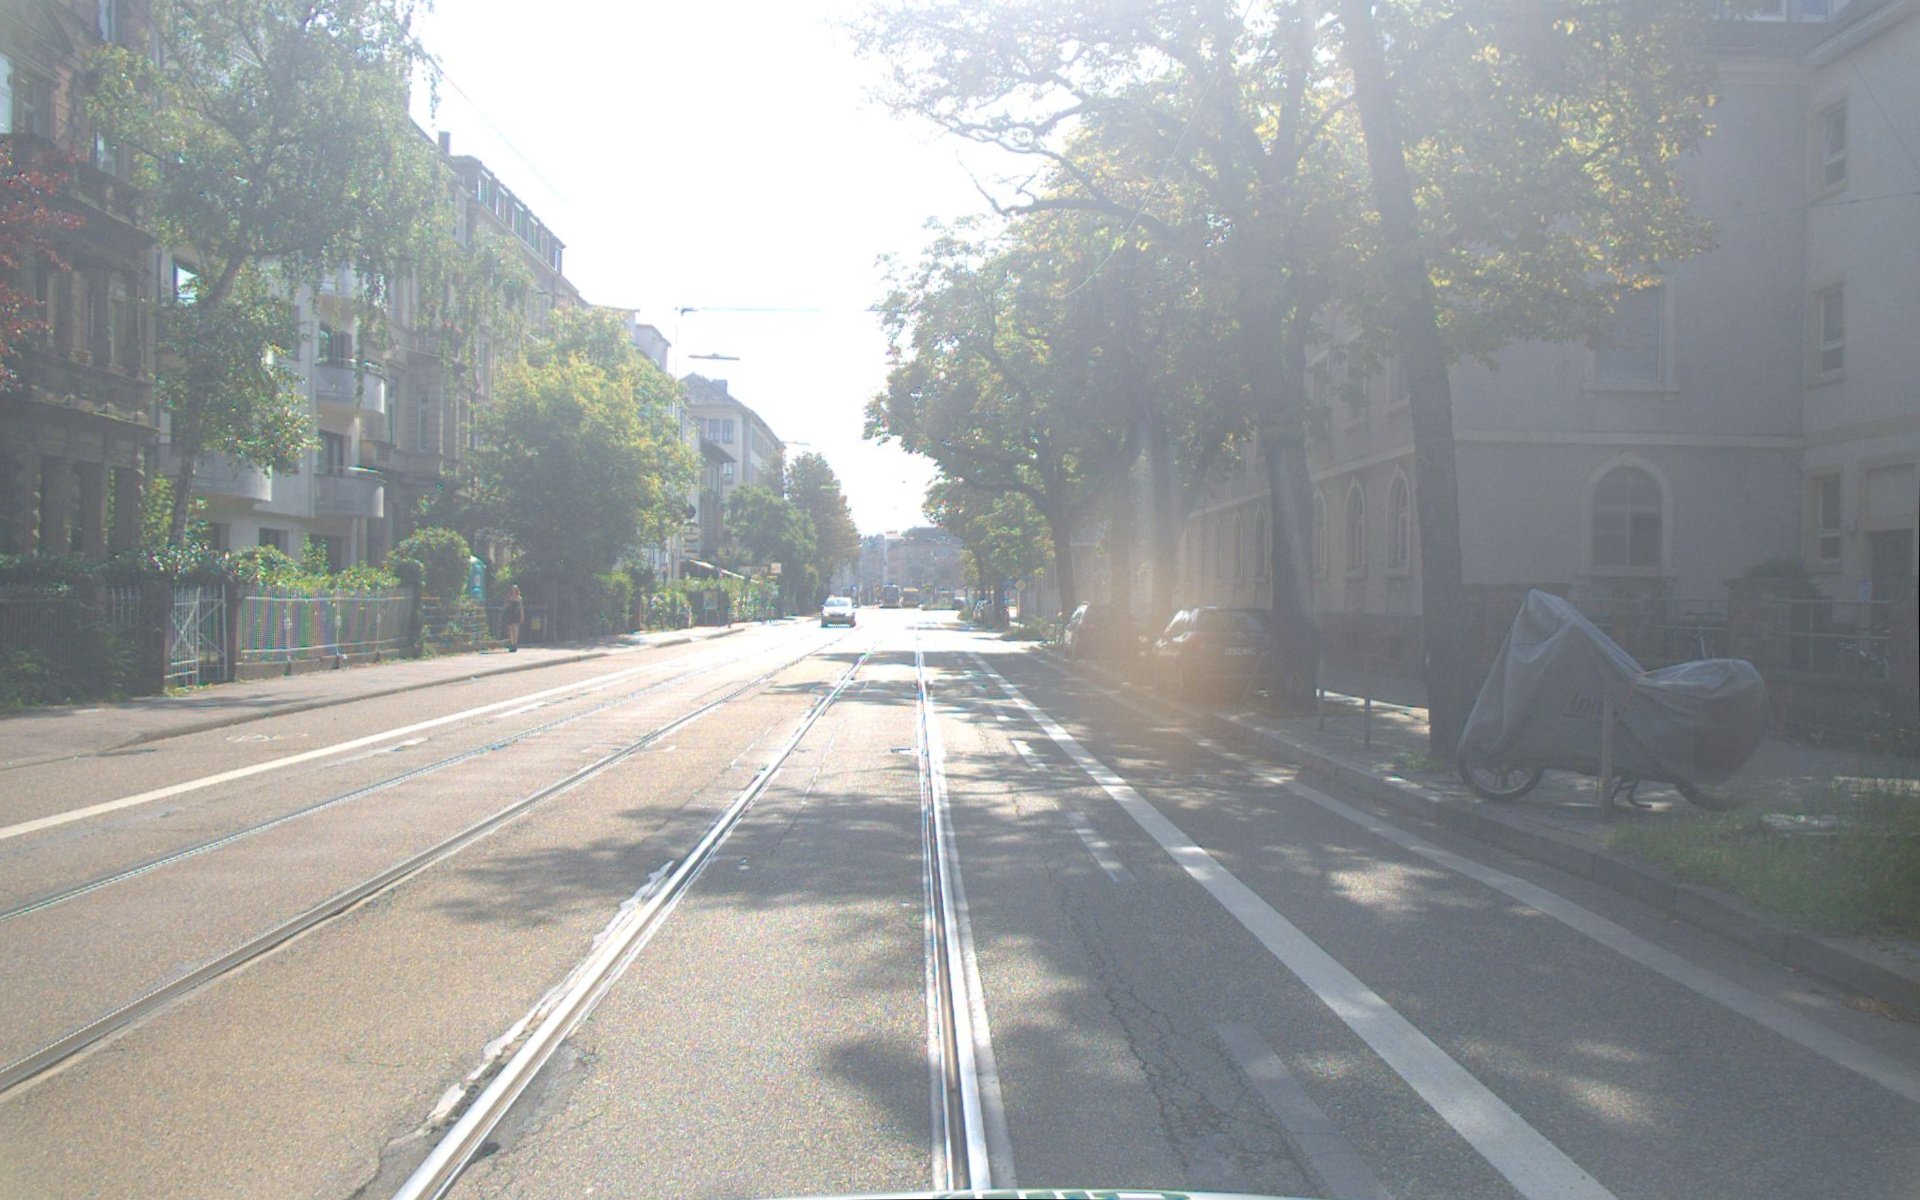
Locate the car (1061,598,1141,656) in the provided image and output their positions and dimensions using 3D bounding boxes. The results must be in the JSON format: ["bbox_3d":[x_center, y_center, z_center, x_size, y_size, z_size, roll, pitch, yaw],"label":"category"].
[{"bbox_3d":[3.757,0.716,44.567,1.736,1.499,3.973,0,-1,-1],"label":"car"}]

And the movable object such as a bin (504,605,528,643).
[{"bbox_3d":[-12.983,0.703,48.332,0.578,1.097,0.703,1,0,-8],"label":"movable object such as a bin"}]

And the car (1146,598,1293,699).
[{"bbox_3d":[4.240,0.756,27.553,1.692,1.531,3.983,-1,0,-2],"label":"car"}]

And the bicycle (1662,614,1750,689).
[{"bbox_3d":[11.918,0.806,26.473,0.527,1.123,1.873,1,0,-1],"label":"bicycle"}]

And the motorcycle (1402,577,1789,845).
[{"bbox_3d":[4.452,0.719,11.726,2.377,1.703,0.908,-1,1,43],"label":"motorcycle"}]

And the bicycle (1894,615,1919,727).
[{"bbox_3d":[9.926,0.727,16.103,0.416,1.123,1.998,0,0,-4],"label":"bicycle"}]

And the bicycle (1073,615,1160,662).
[{"bbox_3d":[3.867,0.956,40.912,2.068,1.125,0.562,1,0,-9],"label":"bicycle"}]

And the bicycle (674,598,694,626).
[{"bbox_3d":[-12.529,0.547,75.092,0.549,1.242,2.113,0,0,0],"label":"bicycle"}]

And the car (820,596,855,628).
[{"bbox_3d":[-6.534,0.610,88.451,1.692,1.666,3.983,0,0,-2],"label":"car"}]

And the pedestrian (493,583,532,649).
[{"bbox_3d":[-11.291,0.400,41.755,0.737,1.619,0.878,0,0,-1],"label":"pedestrian"}]

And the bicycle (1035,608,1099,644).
[{"bbox_3d":[3.553,0.863,55.040,2.064,1.125,0.615,-1,0,-3],"label":"bicycle"}]

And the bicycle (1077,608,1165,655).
[{"bbox_3d":[3.939,0.780,40.391,2.068,1.125,0.562,1,0,-9],"label":"bicycle"}]

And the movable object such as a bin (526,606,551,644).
[{"bbox_3d":[-12.329,0.728,48.427,0.619,1.097,0.703,1,0,-8],"label":"movable object such as a bin"}]

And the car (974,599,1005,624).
[{"bbox_3d":[1.797,0.734,101.862,1.736,1.499,3.973,0,-1,-1],"label":"car"}]

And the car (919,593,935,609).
[{"bbox_3d":[-4.377,0.093,220.329,1.952,2.049,4.001,2,0,1],"label":"car"}]

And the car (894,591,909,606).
[{"bbox_3d":[-8.435,-0.222,238.667,1.952,2.049,4.000,2,0,1],"label":"car"}]

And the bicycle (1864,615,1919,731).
[{"bbox_3d":[9.629,0.729,16.118,0.416,1.123,1.998,0,0,-4],"label":"bicycle"}]

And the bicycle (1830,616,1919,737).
[{"bbox_3d":[9.278,0.735,16.128,0.414,1.123,1.998,0,0,-4],"label":"bicycle"}]

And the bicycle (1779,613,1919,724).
[{"bbox_3d":[9.732,0.715,18.080,0.527,1.123,1.872,0,0,-4],"label":"bicycle"}]
